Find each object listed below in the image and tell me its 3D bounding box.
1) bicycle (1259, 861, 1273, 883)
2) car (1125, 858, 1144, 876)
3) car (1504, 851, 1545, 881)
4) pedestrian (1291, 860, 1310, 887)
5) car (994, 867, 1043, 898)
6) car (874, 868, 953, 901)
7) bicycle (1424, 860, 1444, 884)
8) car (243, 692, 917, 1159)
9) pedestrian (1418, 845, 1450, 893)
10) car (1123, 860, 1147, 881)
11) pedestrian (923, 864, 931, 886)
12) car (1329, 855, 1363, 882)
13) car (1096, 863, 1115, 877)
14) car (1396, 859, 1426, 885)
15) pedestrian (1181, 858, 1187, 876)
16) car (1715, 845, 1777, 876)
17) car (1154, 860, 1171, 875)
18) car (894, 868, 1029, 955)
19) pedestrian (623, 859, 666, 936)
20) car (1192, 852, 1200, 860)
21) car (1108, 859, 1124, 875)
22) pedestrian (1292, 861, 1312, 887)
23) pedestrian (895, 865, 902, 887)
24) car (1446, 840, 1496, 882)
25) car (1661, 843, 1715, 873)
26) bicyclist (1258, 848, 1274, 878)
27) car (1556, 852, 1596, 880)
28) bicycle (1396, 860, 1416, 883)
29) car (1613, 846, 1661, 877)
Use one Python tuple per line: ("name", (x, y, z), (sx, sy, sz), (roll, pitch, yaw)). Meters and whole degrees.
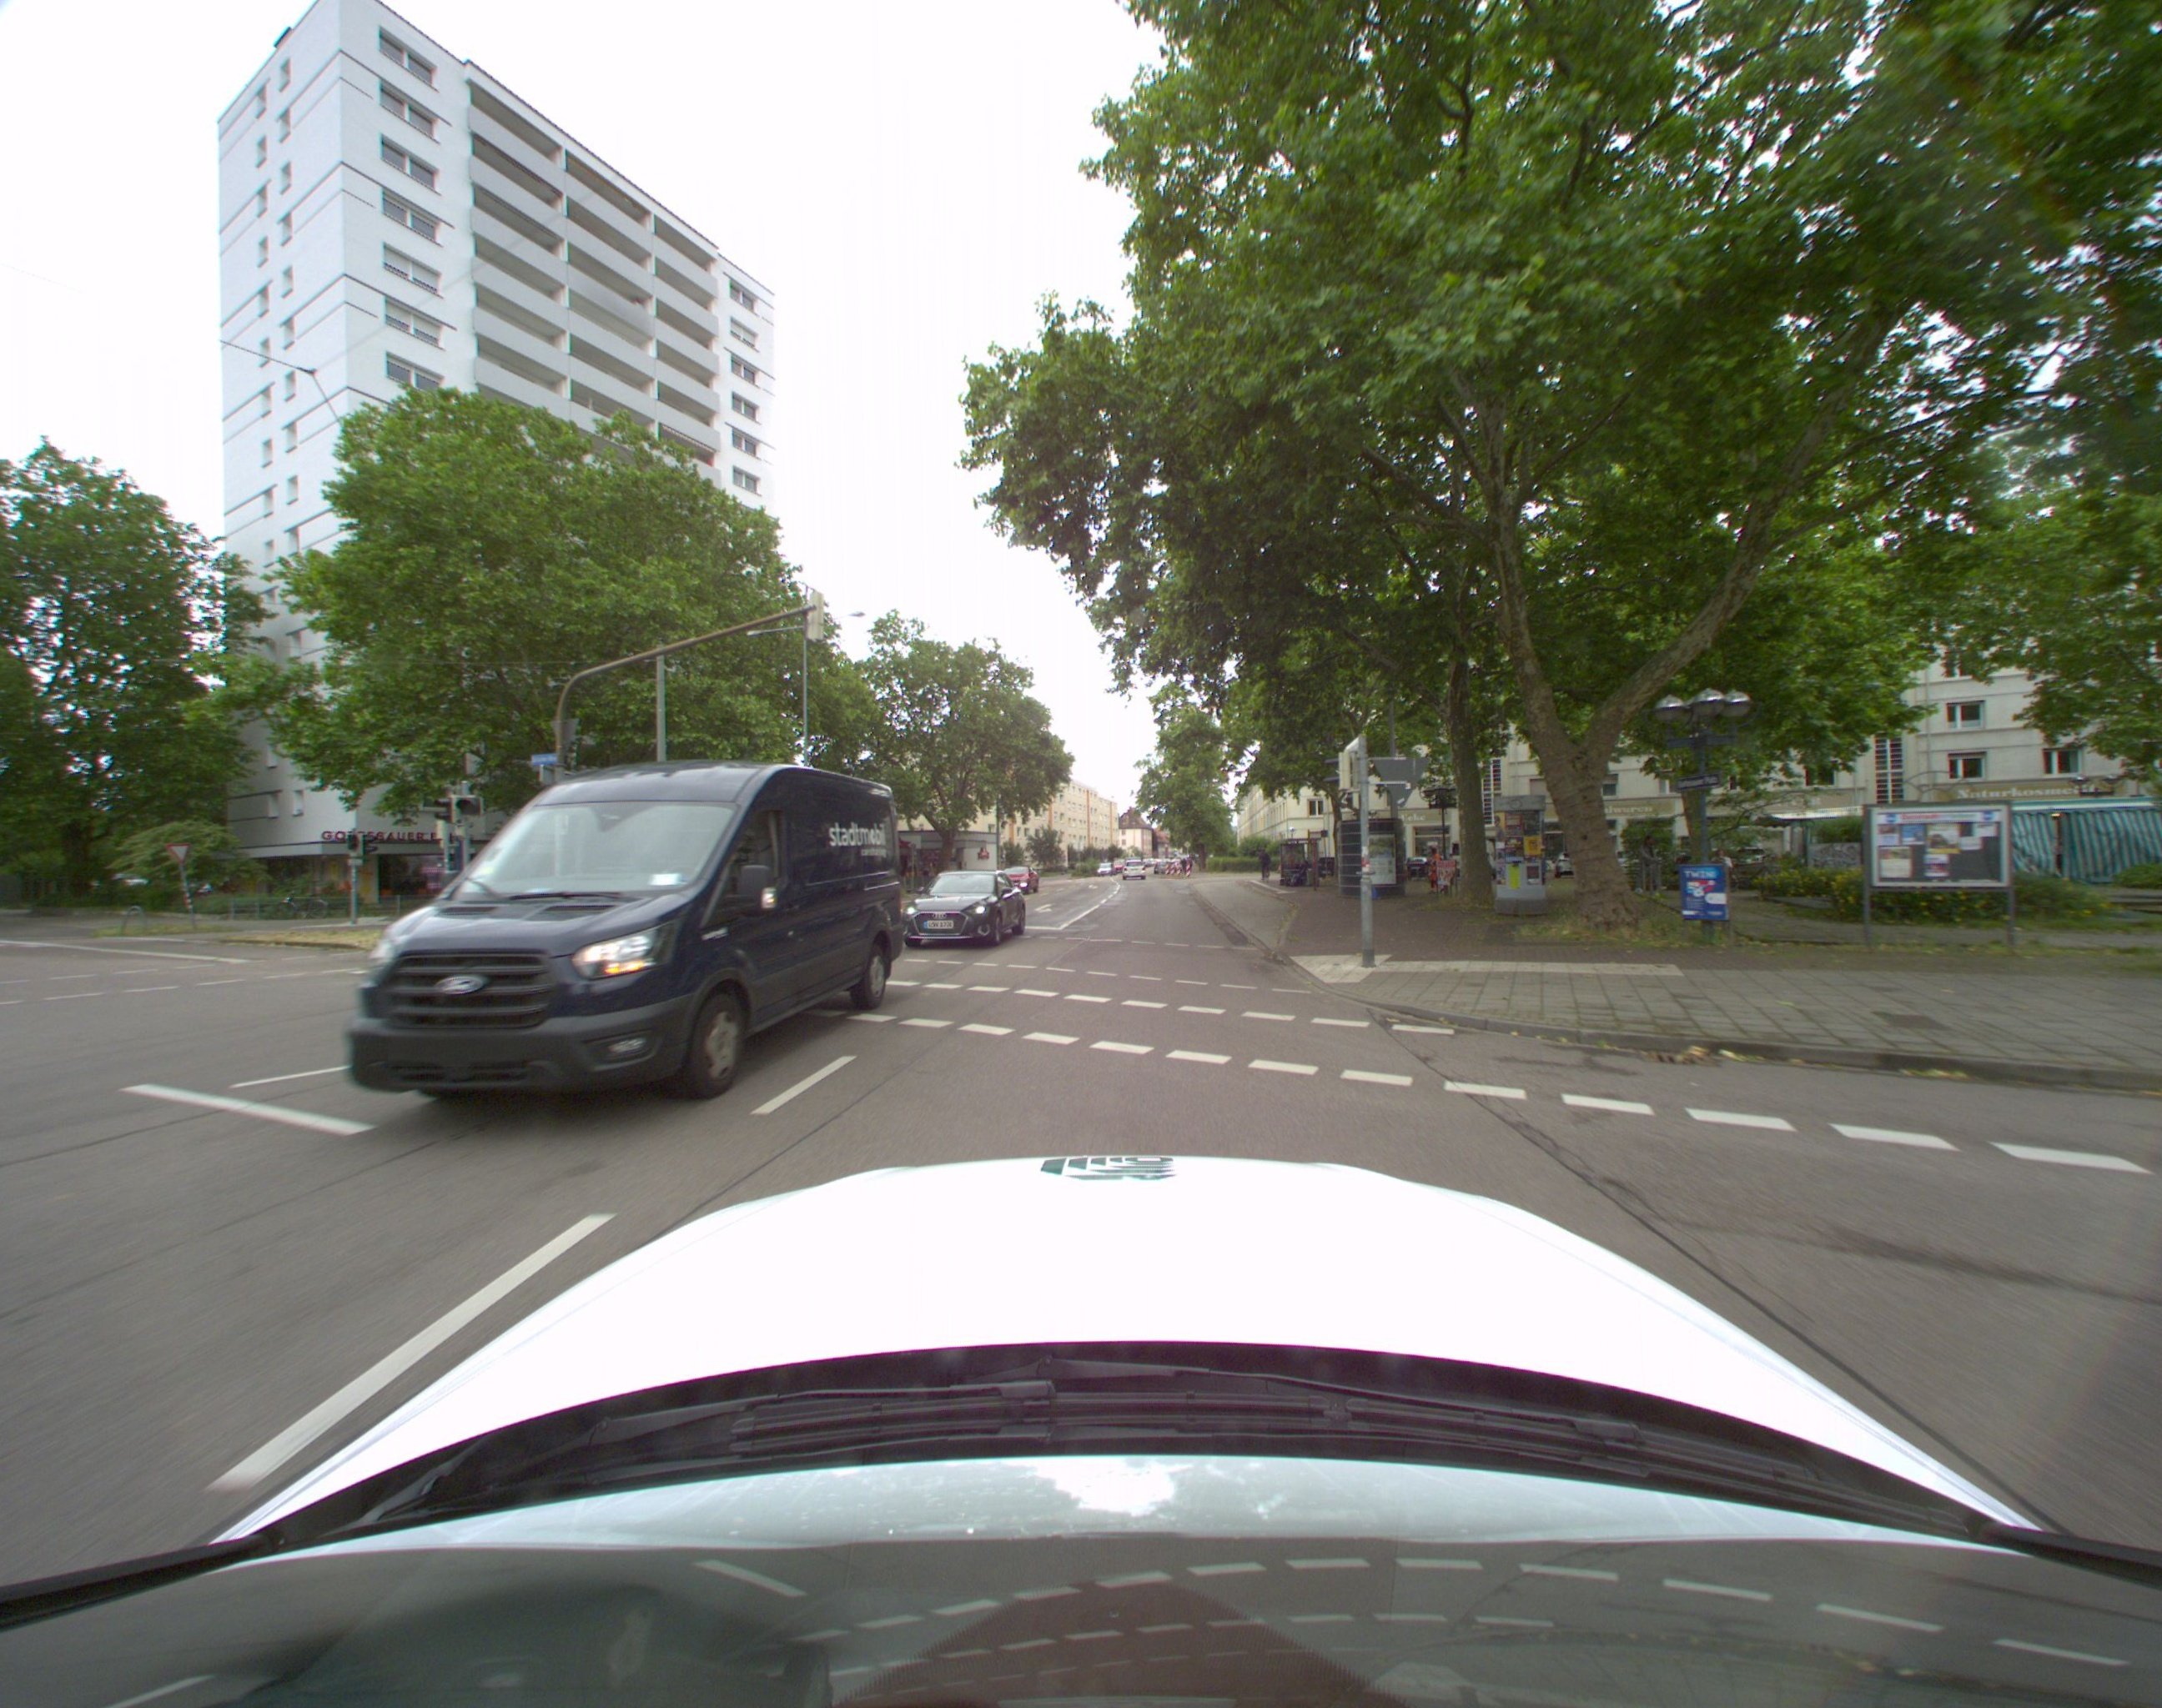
("bicycle", (10.996, 1.056, 48.497), (0.416, 1.242, 1.928), (-2, -1, 2))
("car", (5.864, 1.435, 88.514), (1.985, 1.848, 4.004), (-2, 0, 4))
("car", (24.308, 0.634, 44.553), (1.779, 1.543, 3.851), (-2, -1, 31))
("pedestrian", (11.556, 1.012, 42.872), (0.814, 1.372, 0.764), (-2, -1, 5))
("car", (-3.228, 1.444, 43.089), (1.844, 1.453, 4.174), (-1, 0, 5))
("car", (-9.433, 1.672, 45.792), (4.005, 1.706, 1.984), (-1, -1, -24))
("bicycle", (18.545, 0.944, 42.773), (0.616, 1.168, 2.347), (-2, -1, 30))
("car", (-3.267, 0.403, 7.144), (2.124, 2.451, 5.585), (-2, 0, 4))
("pedestrian", (13.096, 0.559, 30.246), (0.780, 1.743, 0.926), (-2, -1, 4))
("car", (4.528, 1.334, 67.834), (1.806, 1.592, 4.006), (-2, 0, 5))
("pedestrian", (-11.981, 1.609, 63.371), (0.516, 1.680, 0.509), (-1, -1, -12))
("car", (15.602, 0.826, 47.875), (1.501, 1.428, 4.022), (-2, -1, 23))
("car", (2.816, 1.757, 92.849), (1.758, 1.486, 4.007), (-2, 0, 6))
("car", (19.383, 1.031, 47.803), (1.501, 1.428, 4.022), (-2, -1, 23))
("pedestrian", (9.847, 1.242, 77.829), (0.548, 1.684, 0.570), (-2, -1, 4))
("car", (32.898, 0.308, 40.374), (1.779, 1.440, 3.851), (-2, -1, 31))
("car", (9.045, 1.467, 90.252), (1.806, 1.592, 4.006), (-2, 0, 5))
("car", (-2.249, 1.050, 16.527), (1.801, 1.427, 4.321), (-2, 0, 4))
("pedestrian", (-10.396, 1.029, 19.414), (0.696, 1.785, 0.508), (-2, -1, 12))
("car", (30.916, 0.643, 218.989), (1.985, 2.014, 4.004), (-1, -1, 4))
("car", (4.541, 1.654, 104.234), (1.758, 1.912, 4.007), (-2, 0, 6))
("pedestrian", (11.398, 1.033, 41.963), (0.849, 1.314, 0.764), (-2, -1, 5))
("pedestrian", (-14.158, 1.674, 63.243), (0.509, 1.680, 0.515), (-1, -1, -11))
("car", (21.931, 0.389, 45.712), (2.153, 2.200, 4.025), (-2, -1, 30))
("car", (30.715, 0.188, 41.298), (1.779, 1.440, 3.851), (-2, -1, 31))
("bicyclist", (11.064, 0.524, 48.665), (0.757, 1.759, 0.820), (-2, -1, 1))
("car", (27.151, 0.629, 44.694), (1.779, 1.440, 3.851), (-2, -1, 31))
("bicycle", (17.321, 0.918, 43.347), (0.616, 1.168, 2.347), (-2, -1, 30))
("car", (28.921, 0.350, 42.441), (1.779, 1.516, 3.851), (-2, -1, 31))
